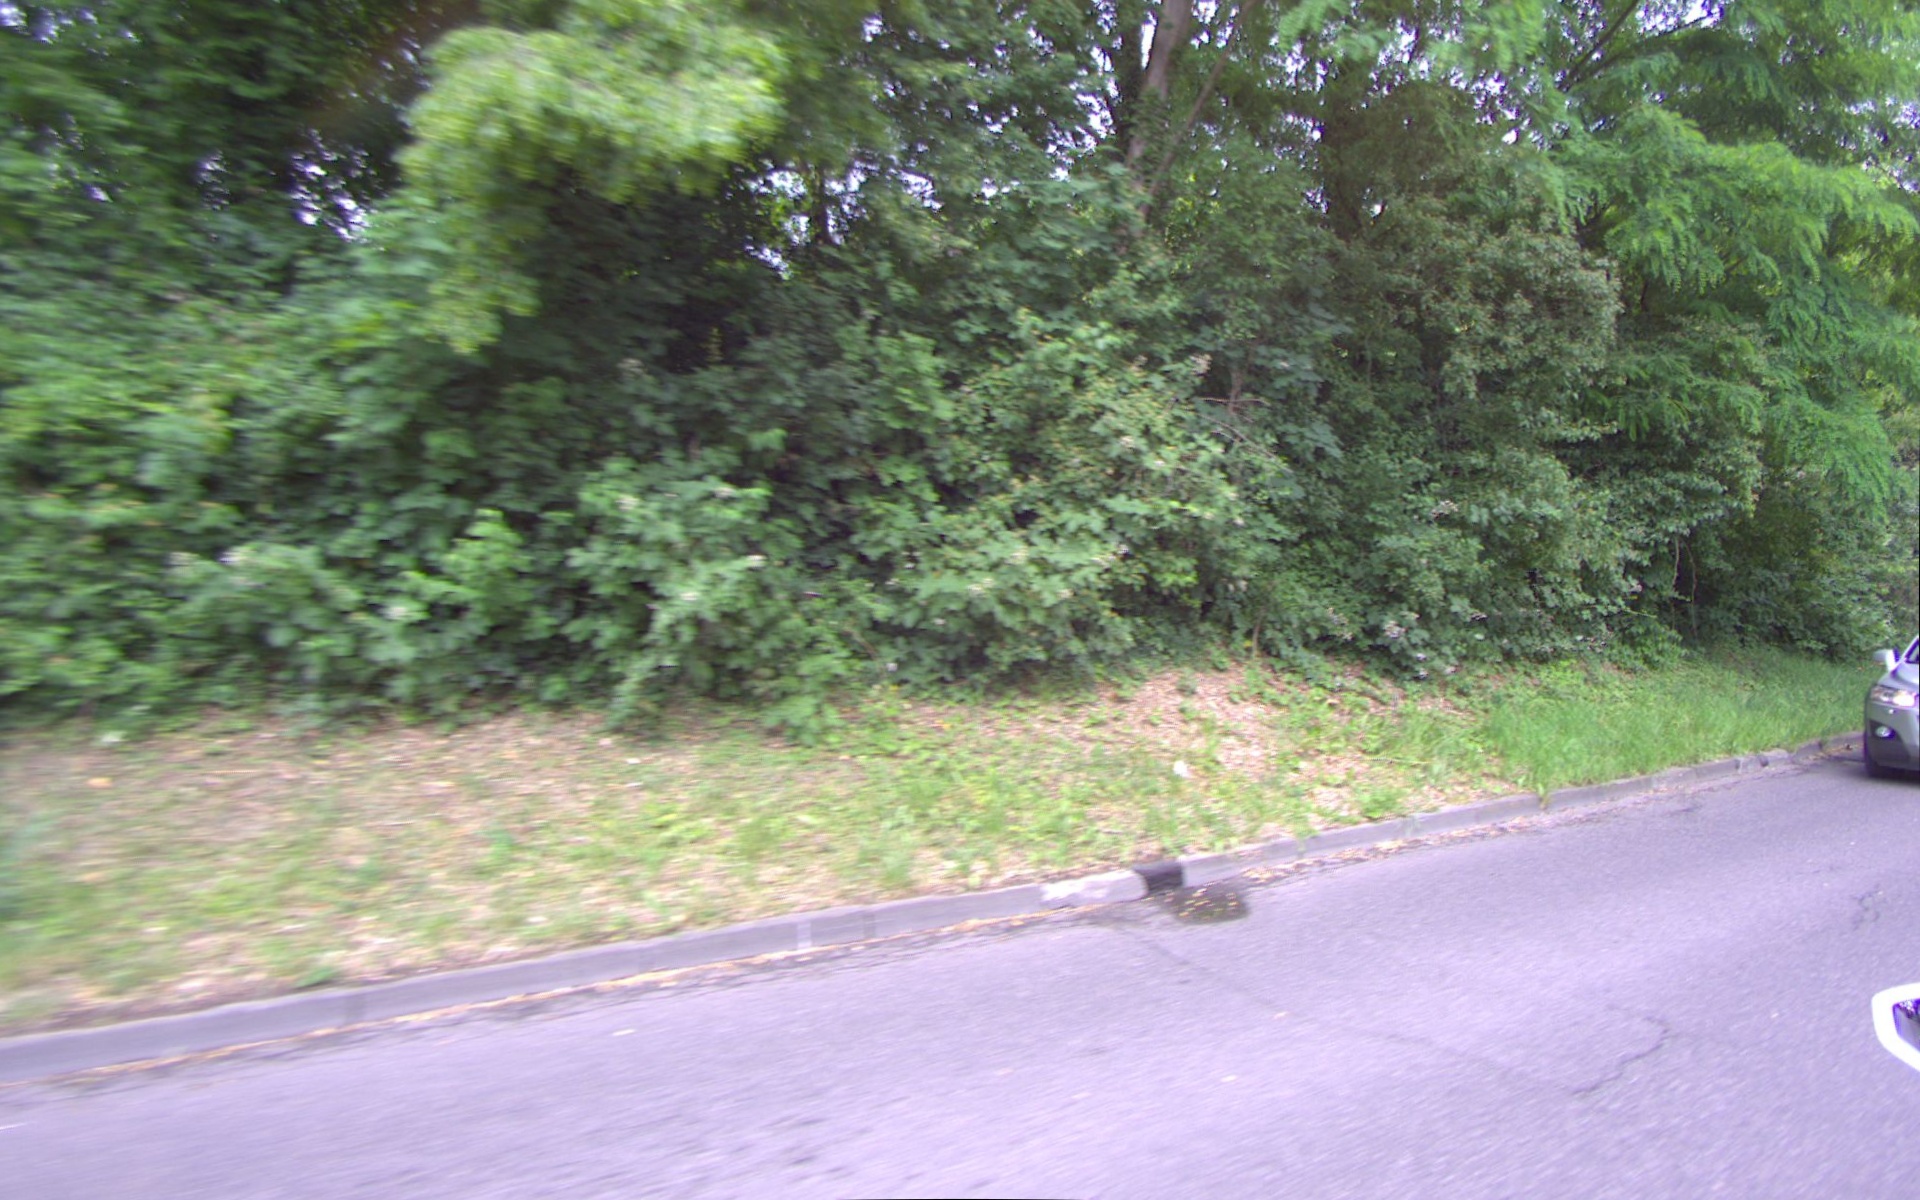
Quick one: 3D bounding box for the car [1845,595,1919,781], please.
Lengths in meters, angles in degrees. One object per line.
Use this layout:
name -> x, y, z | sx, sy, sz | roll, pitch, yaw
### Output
car -> 10.917, 0.872, 10.451 | 4.274, 1.750, 1.807 | 2, -3, -38
